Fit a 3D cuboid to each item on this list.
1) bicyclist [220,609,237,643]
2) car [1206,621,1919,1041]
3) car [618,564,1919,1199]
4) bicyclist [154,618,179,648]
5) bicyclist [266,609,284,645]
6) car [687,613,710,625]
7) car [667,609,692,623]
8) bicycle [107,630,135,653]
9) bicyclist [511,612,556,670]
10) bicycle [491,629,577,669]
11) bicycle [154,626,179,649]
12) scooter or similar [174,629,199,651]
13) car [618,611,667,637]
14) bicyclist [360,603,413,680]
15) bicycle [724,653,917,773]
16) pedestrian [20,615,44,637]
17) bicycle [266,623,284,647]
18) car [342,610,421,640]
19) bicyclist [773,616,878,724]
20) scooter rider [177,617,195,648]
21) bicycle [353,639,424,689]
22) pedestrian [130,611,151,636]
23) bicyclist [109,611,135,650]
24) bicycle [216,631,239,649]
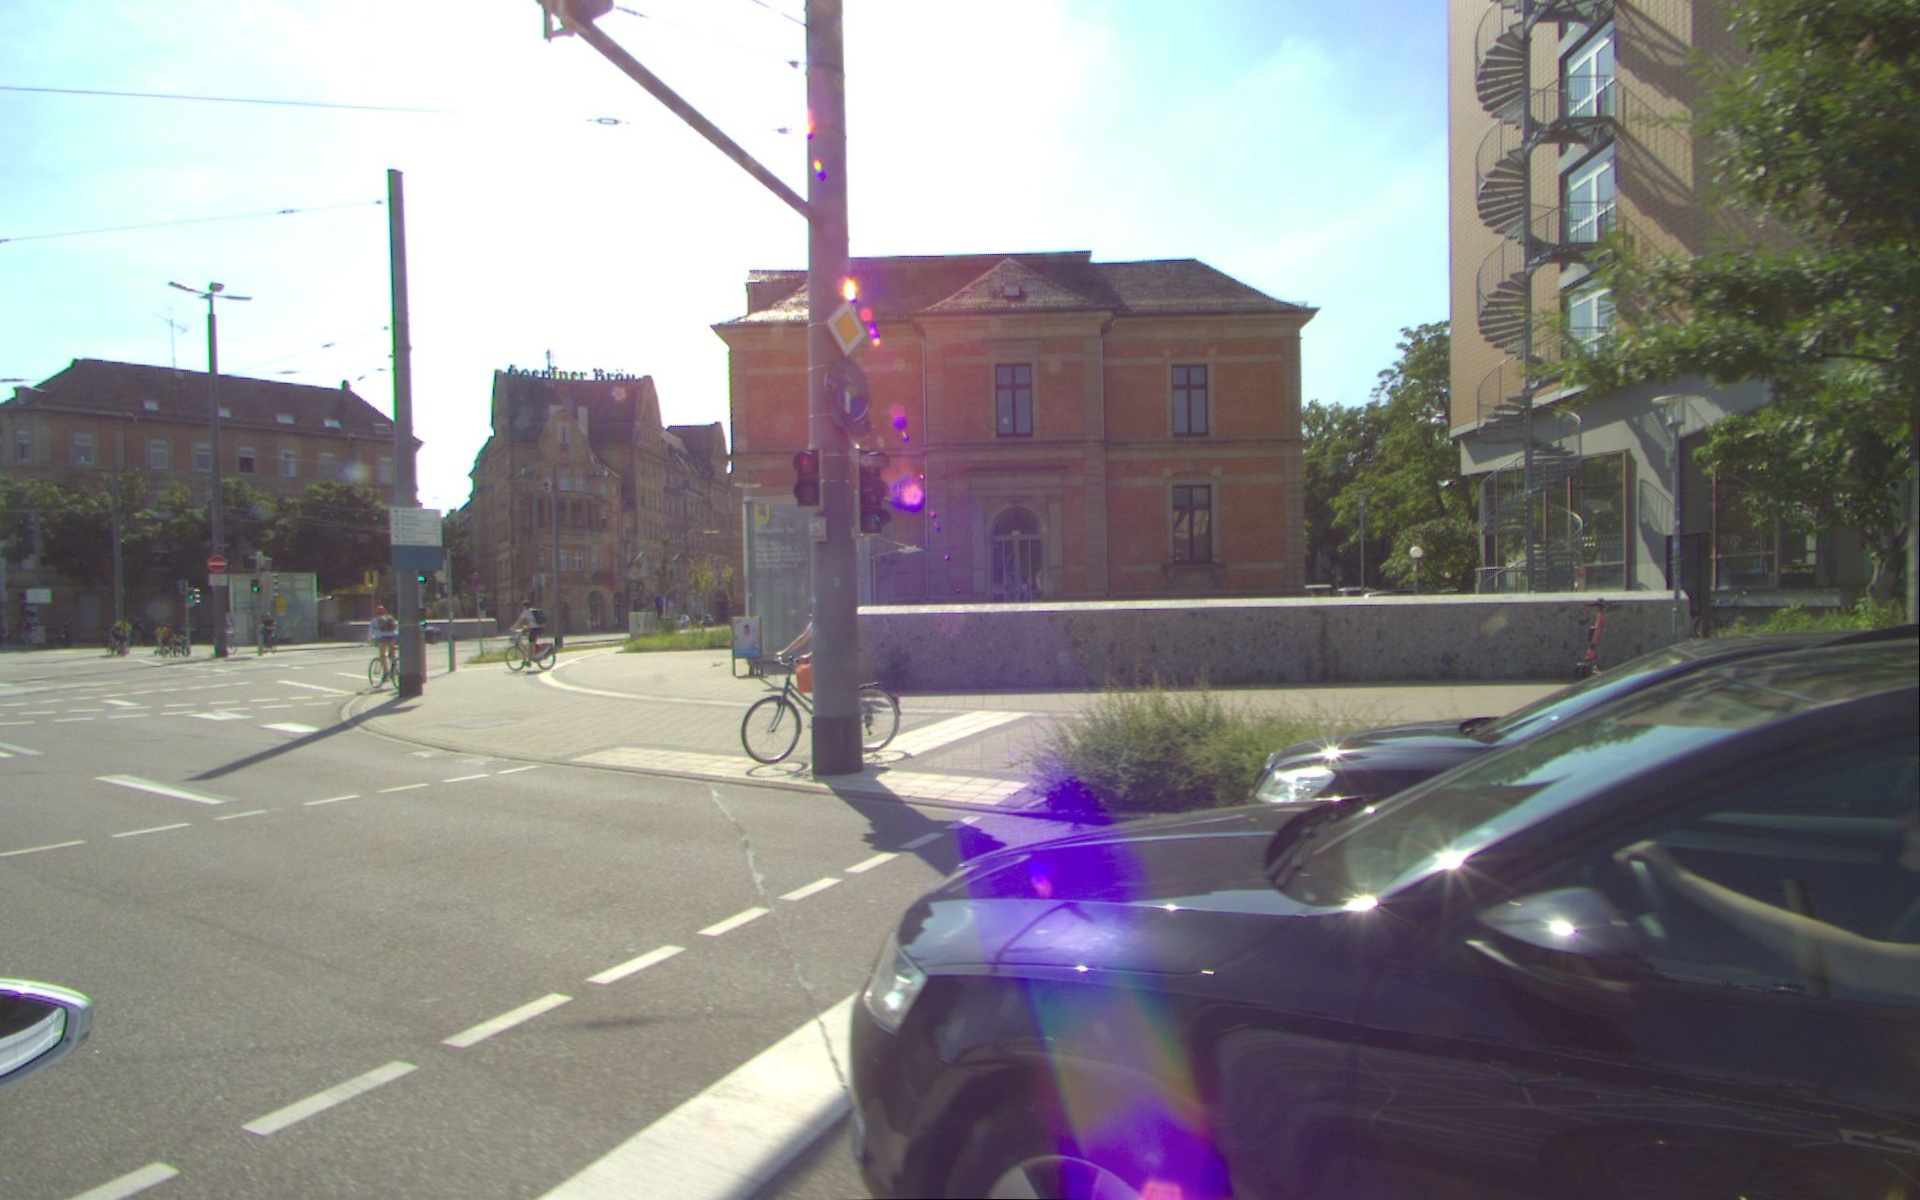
[{"bbox_3d":[-36.626,1.304,50.151,0.641,1.642,0.498,-1,-1,37],"label":"bicyclist"},{"bbox_3d":[3.440,0.826,4.395,4.328,1.448,1.699,-1,-1,27],"label":"car"},{"bbox_3d":[1.684,0.693,1.736,4.709,1.453,1.629,-2,-1,30],"label":"car"},{"bbox_3d":[-38.967,1.622,49.164,0.919,1.470,1.242,1,-1,-39],"label":"bicyclist"},{"bbox_3d":[-31.657,1.240,46.307,0.660,1.645,0.777,1,-1,-36],"label":"bicyclist"},{"bbox_3d":[-29.555,2.140,113.351,1.606,1.363,3.610,-1,0,0],"label":"car"},{"bbox_3d":[-29.661,1.701,105.957,1.606,1.363,3.583,-1,0,0],"label":"car"},{"bbox_3d":[-40.125,1.994,47.889,0.920,1.082,2.722,1,-3,-42],"label":"bicycle"},{"bbox_3d":[-11.361,1.096,26.699,0.932,1.506,0.717,0,-2,-5],"label":"bicyclist"},{"bbox_3d":[-11.325,1.293,26.691,1.981,1.028,0.717,0,-2,-4],"label":"bicycle"},{"bbox_3d":[-38.859,1.816,49.030,0.919,1.083,2.818,1,-1,-39],"label":"bicycle"},{"bbox_3d":[-36.043,1.855,46.652,0.978,0.988,0.586,-2,-2,31],"label":"scooter or similar"},{"bbox_3d":[-17.127,1.278,54.133,1.639,1.330,3.452,-1,0,-2],"label":"car"},{"bbox_3d":[-13.185,0.941,23.025,0.864,1.692,0.710,-1,3,39],"label":"bicyclist"},{"bbox_3d":[-1.490,1.169,10.748,1.888,1.029,0.714,-3,2,-25],"label":"bicycle"},{"bbox_3d":[-61.226,1.714,66.070,0.869,1.452,0.712,-1,1,-1],"label":"pedestrian"},{"bbox_3d":[-31.955,1.640,46.703,0.660,1.083,2.446,1,-1,-35],"label":"bicycle"},{"bbox_3d":[-32.446,1.383,56.288,1.608,1.604,3.997,-1,0,12],"label":"car"},{"bbox_3d":[-1.452,0.724,10.765,0.902,1.043,0.714,-3,2,-25],"label":"bicyclist"},{"bbox_3d":[-36.081,1.506,46.680,0.401,1.415,0.586,-1,-2,31],"label":"scooter rider"},{"bbox_3d":[-13.167,1.451,23.057,1.997,1.029,0.710,-1,2,40],"label":"bicycle"},{"bbox_3d":[-47.883,1.396,58.498,0.699,1.451,0.614,0,-1,-6],"label":"pedestrian"},{"bbox_3d":[-39.942,1.469,47.713,0.920,1.843,1.043,1,-2,-42],"label":"bicyclist"},{"bbox_3d":[-36.679,1.981,50.164,1.567,0.877,0.498,-1,-2,37],"label":"bicycle"}]
